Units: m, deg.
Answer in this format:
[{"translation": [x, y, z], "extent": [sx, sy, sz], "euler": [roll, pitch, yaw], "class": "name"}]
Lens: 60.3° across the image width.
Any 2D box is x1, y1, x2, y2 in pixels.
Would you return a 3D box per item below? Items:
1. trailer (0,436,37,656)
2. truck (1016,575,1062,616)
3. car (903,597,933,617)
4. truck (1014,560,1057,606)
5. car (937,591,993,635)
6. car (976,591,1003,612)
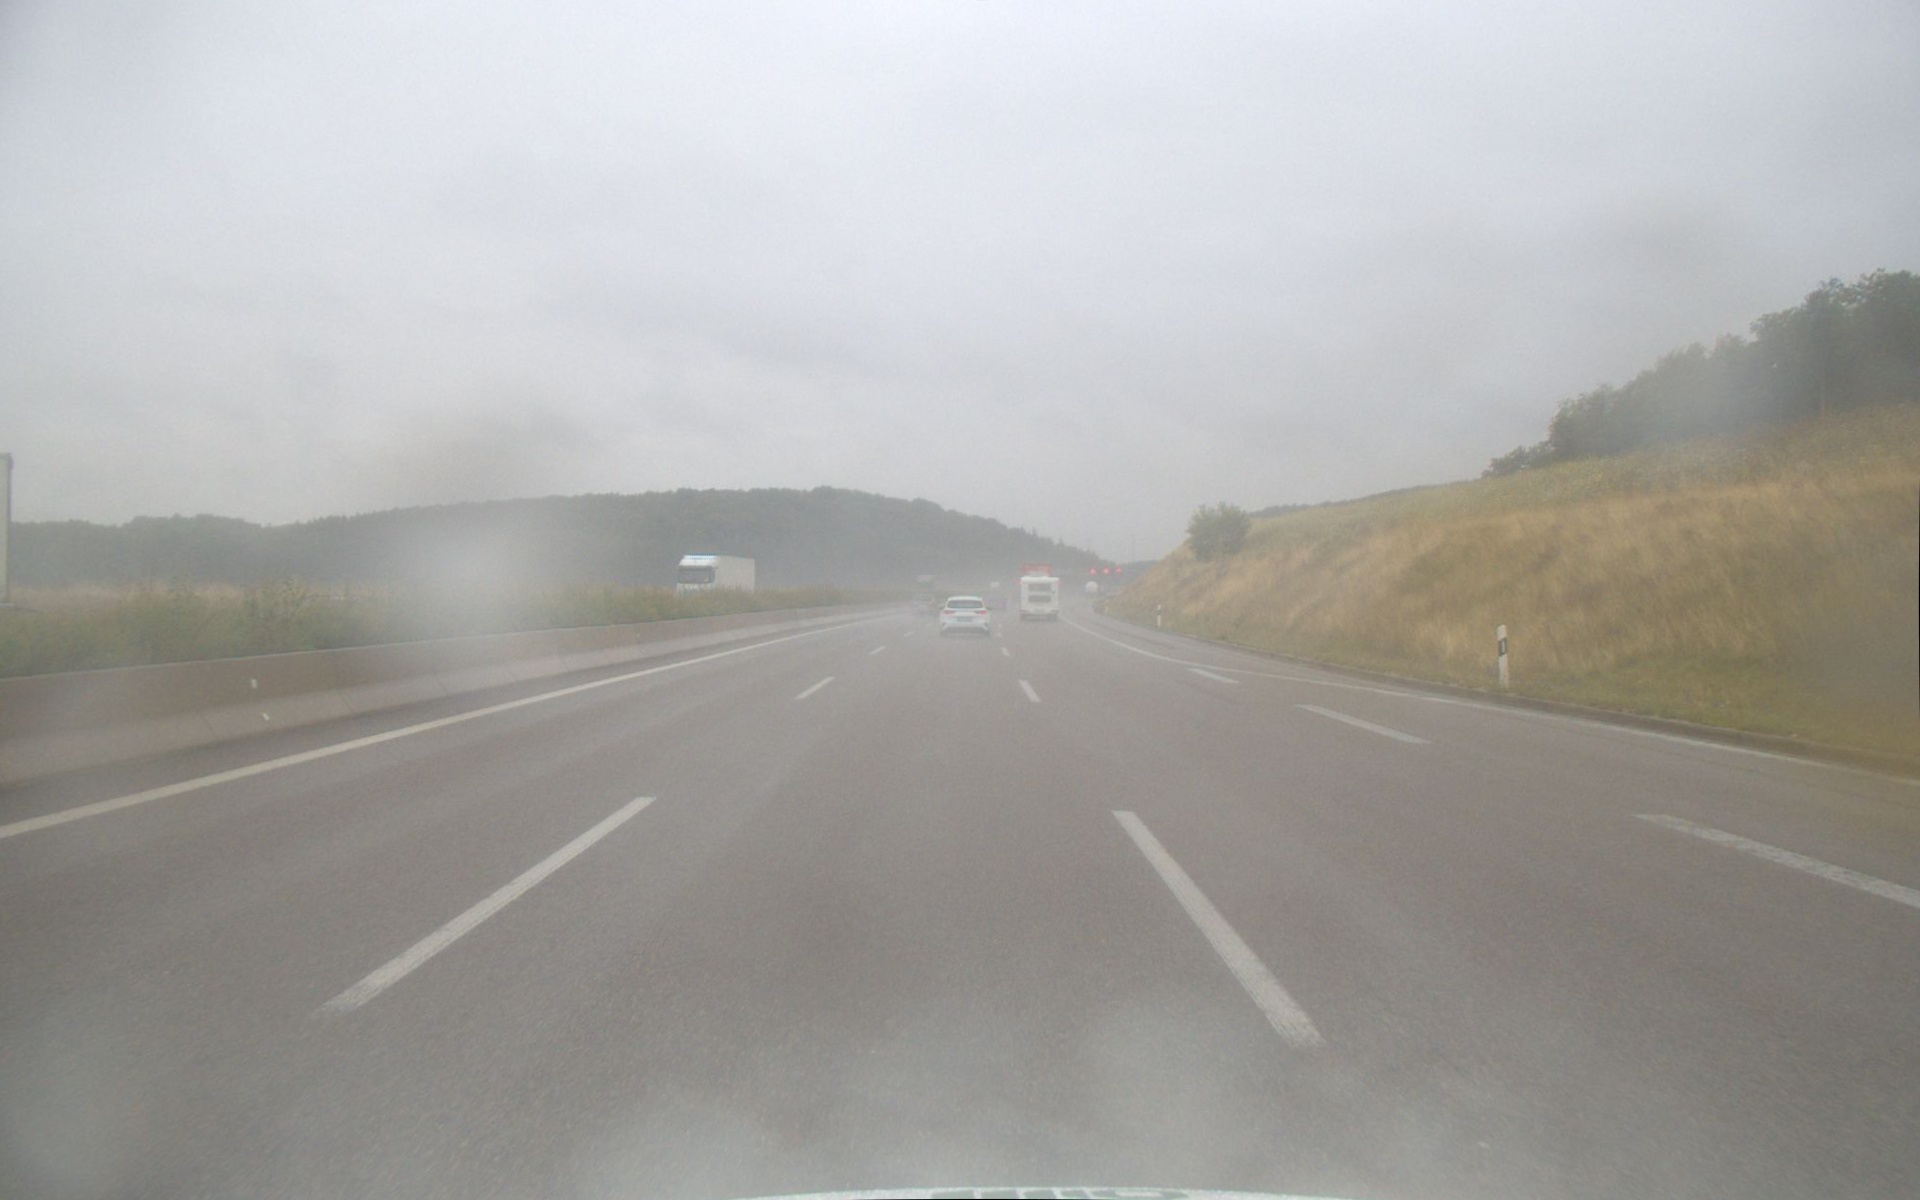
[{"translation": [-19.129, -0.982, 24.470], "extent": [2.884, 4.052, 14.305], "euler": [0, 0, 0], "class": "trailer"}, {"translation": [4.591, -0.265, 96.698], "extent": [2.359, 2.292, 4.692], "euler": [0, 0, -1], "class": "truck"}, {"translation": [-2.634, 0.449, 102.815], "extent": [1.787, 1.177, 4.210], "euler": [1, -1, -3], "class": "car"}, {"translation": [6.525, -1.541, 144.835], "extent": [3.454, 3.808, 11.428], "euler": [1, 1, 1], "class": "truck"}, {"translation": [0.146, 0.467, 59.114], "extent": [1.830, 1.488, 3.998], "euler": [0, -1, -2], "class": "car"}, {"translation": [2.348, 0.083, 132.281], "extent": [1.954, 1.646, 3.998], "euler": [0, 0, -3], "class": "car"}]
